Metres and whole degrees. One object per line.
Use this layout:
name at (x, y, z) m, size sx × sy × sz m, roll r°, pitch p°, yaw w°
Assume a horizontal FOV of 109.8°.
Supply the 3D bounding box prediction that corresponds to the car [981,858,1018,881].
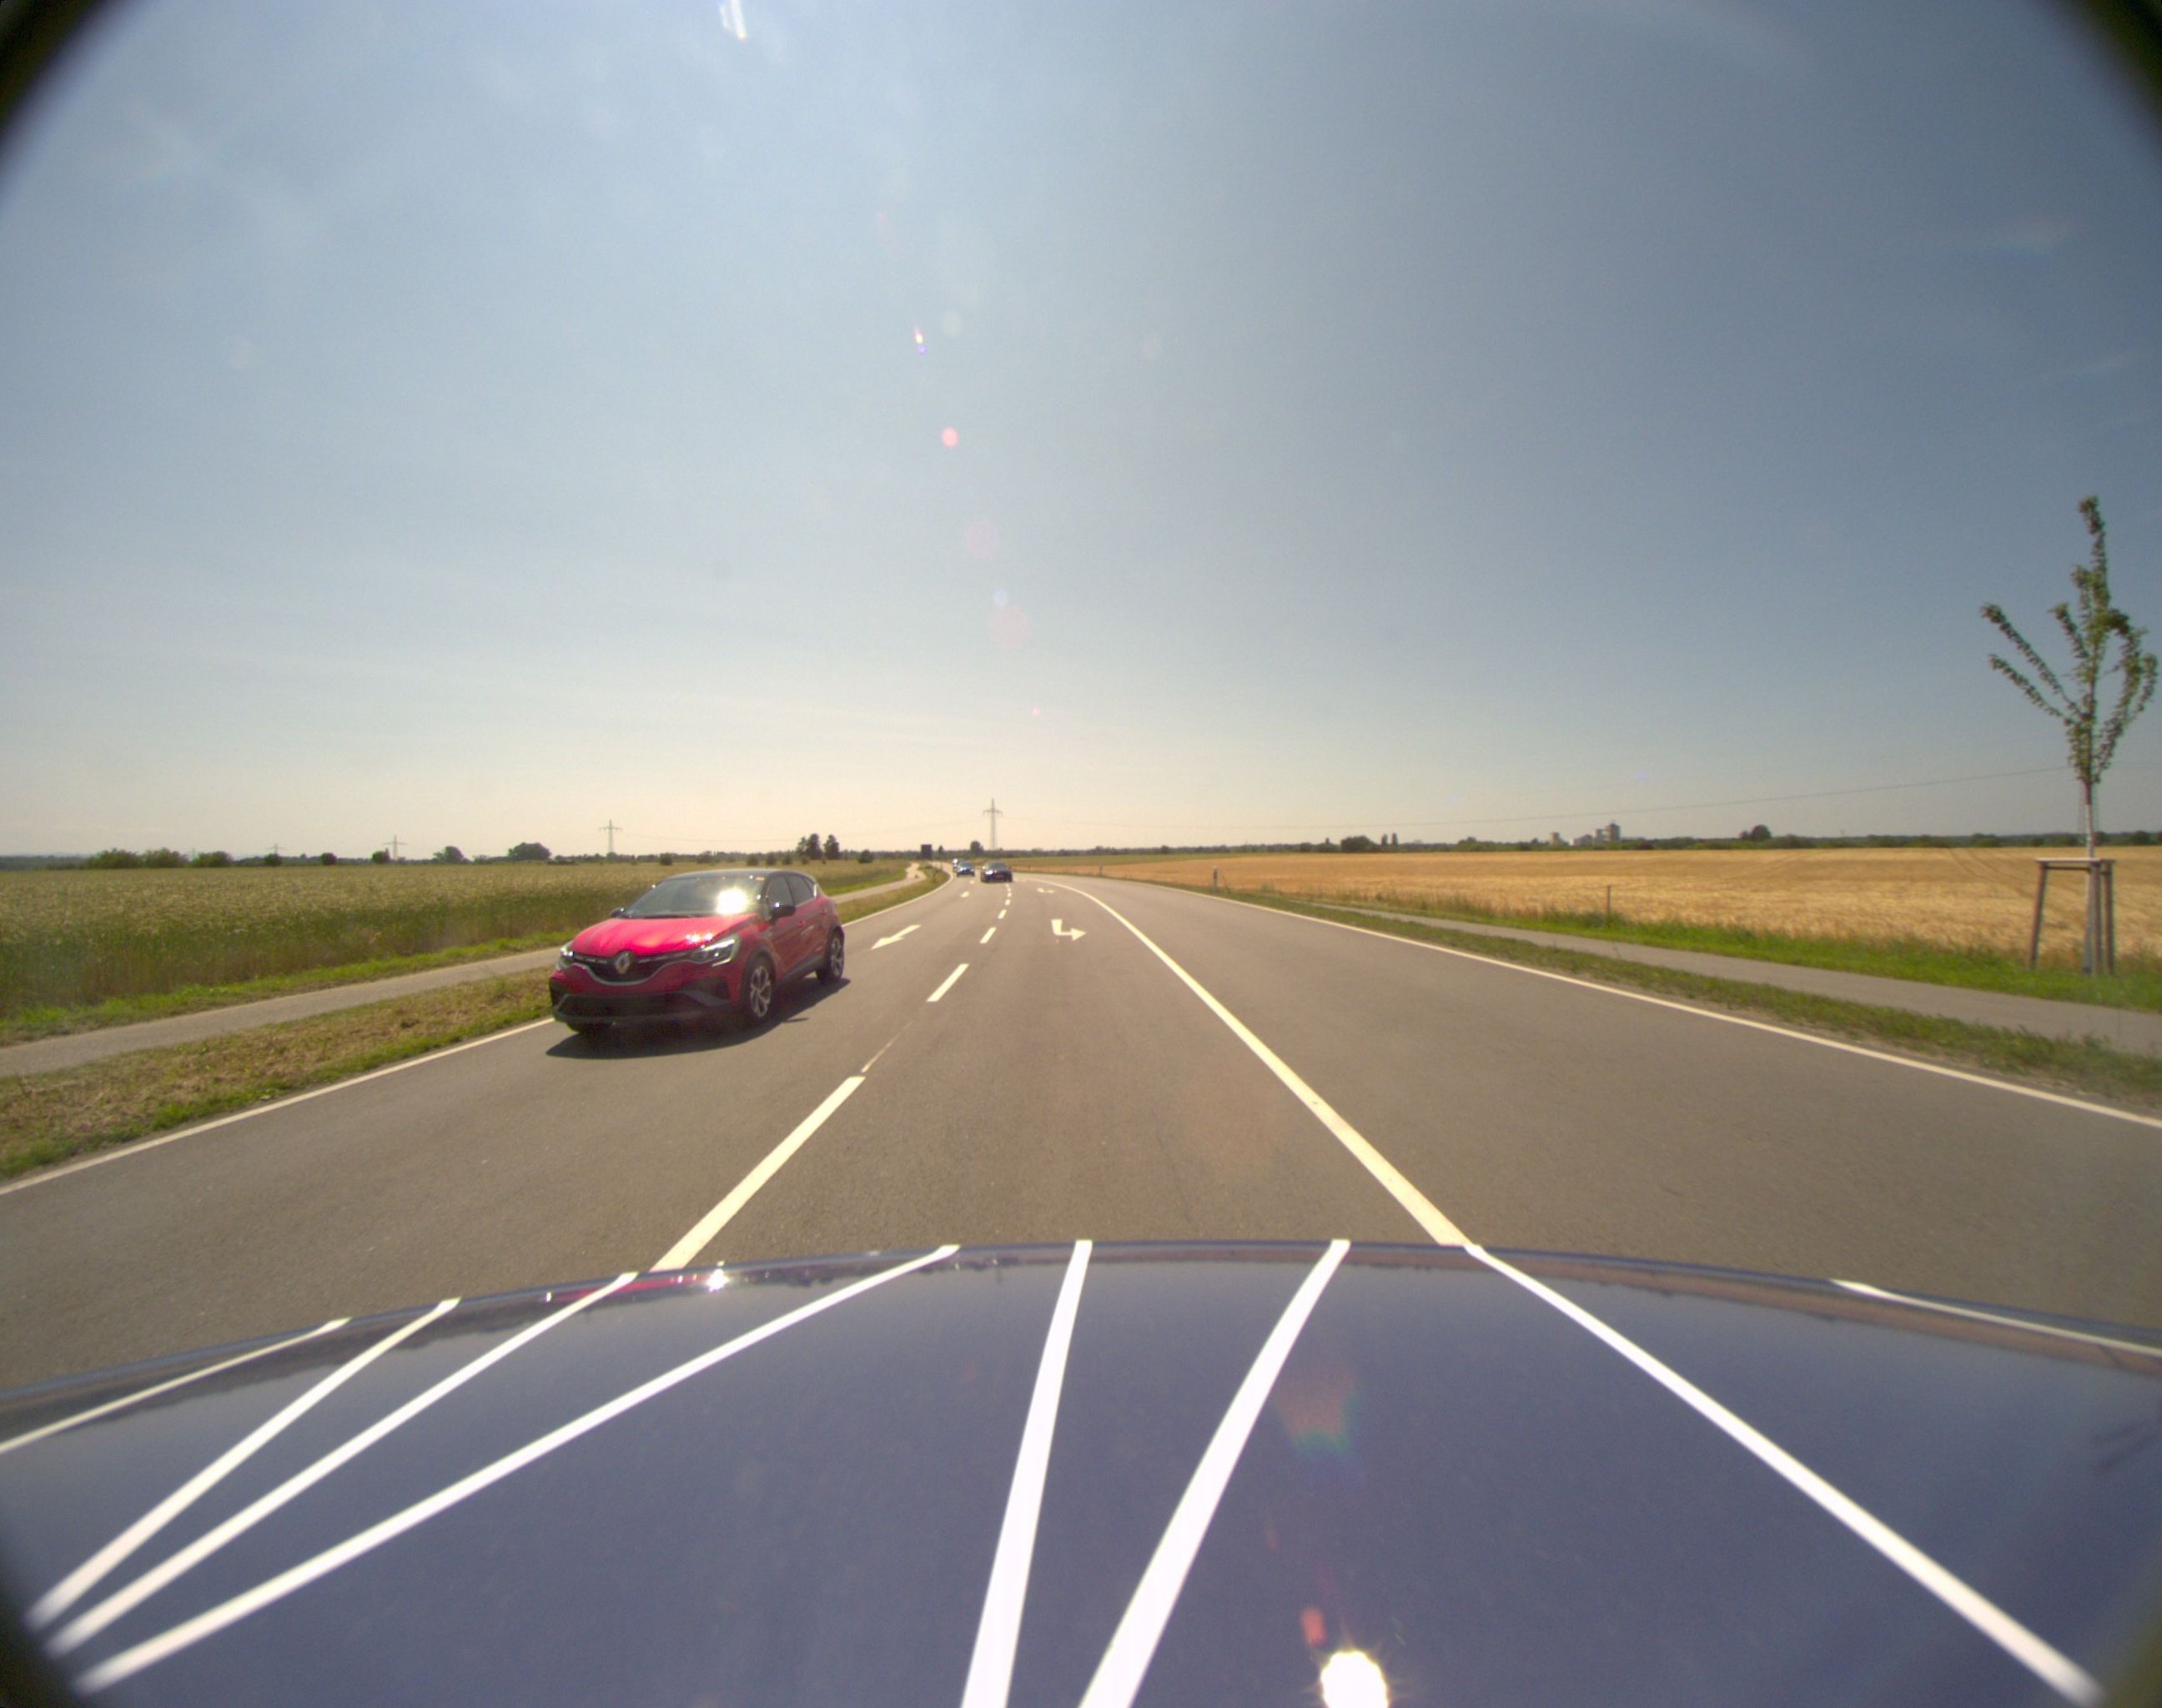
car at (-5.850, 1.085, 53.953) m, size 2.191 × 1.458 × 5.009 m, roll -2°, pitch 0°, yaw -10°

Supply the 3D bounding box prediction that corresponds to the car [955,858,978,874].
car at (-11.518, 1.178, 76.328) m, size 2.191 × 1.458 × 5.009 m, roll -2°, pitch 0°, yaw -9°

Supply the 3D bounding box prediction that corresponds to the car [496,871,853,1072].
car at (-4.161, 1.058, 8.777) m, size 1.827 × 1.543 × 4.448 m, roll -2°, pitch 0°, yaw -3°

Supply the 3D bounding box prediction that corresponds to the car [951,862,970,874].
car at (-16.389, 1.875, 103.577) m, size 2.190 × 1.458 × 5.011 m, roll -2°, pitch 0°, yaw -6°
